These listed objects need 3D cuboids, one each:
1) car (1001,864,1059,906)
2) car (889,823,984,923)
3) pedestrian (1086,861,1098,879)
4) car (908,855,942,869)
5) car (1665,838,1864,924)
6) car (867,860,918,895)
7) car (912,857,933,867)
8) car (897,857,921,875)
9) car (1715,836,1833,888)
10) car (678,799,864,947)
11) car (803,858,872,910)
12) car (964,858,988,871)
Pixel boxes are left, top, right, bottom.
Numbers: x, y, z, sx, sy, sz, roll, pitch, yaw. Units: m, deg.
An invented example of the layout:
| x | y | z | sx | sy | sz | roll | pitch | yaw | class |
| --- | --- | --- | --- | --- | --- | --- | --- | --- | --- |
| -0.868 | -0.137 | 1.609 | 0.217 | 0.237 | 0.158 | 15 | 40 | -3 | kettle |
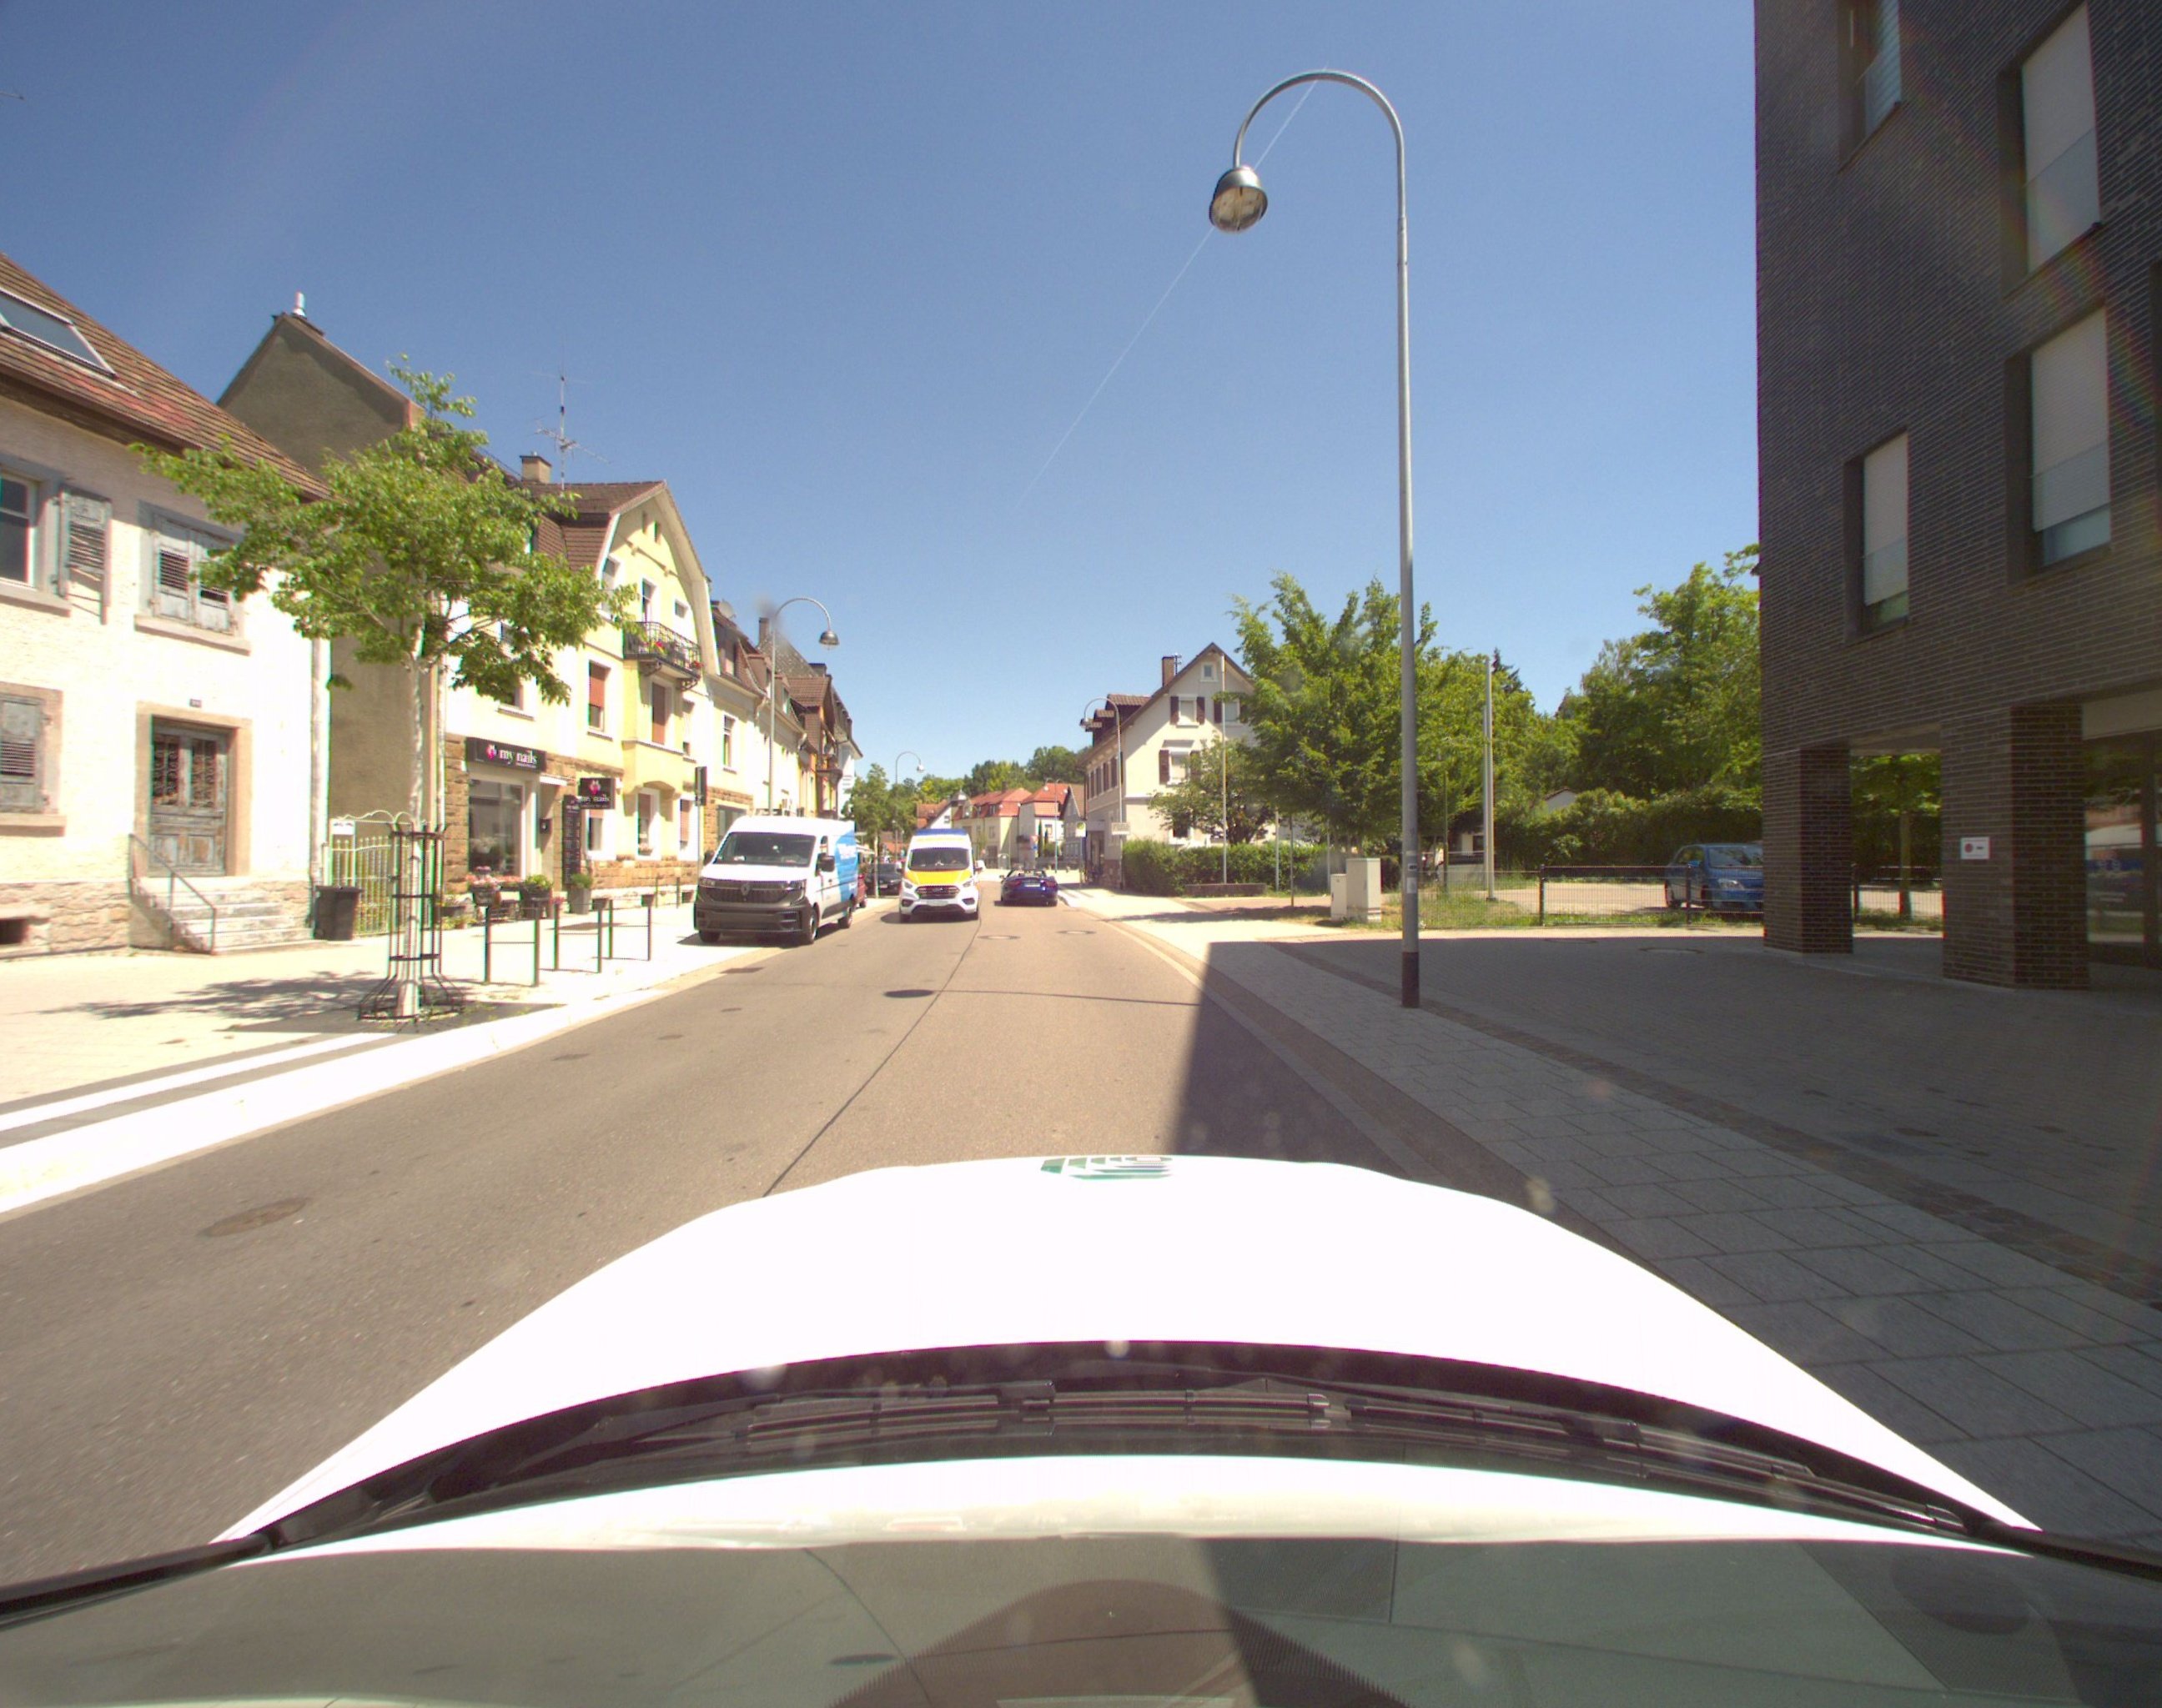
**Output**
| x | y | z | sx | sy | sz | roll | pitch | yaw | class |
| --- | --- | --- | --- | --- | --- | --- | --- | --- | --- |
| -1.926 | 1.074 | 29.684 | 1.908 | 1.360 | 4.276 | 1 | -1 | -6 | car |
| -3.786 | 0.460 | 22.187 | 2.154 | 2.362 | 5.236 | -1 | 0 | -6 | car |
| 0.626 | 0.904 | 47.035 | 0.590 | 0.999 | 0.721 | -1 | 0 | -9 | pedestrian |
| -16.308 | 0.826 | 84.951 | 2.008 | 1.329 | 4.155 | -1 | 0 | -35 | car |
| 13.134 | 0.446 | 15.987 | 1.795 | 1.441 | 4.195 | -1 | 0 | 22 | car |
| -8.776 | 1.061 | 38.219 | 1.914 | 1.481 | 4.325 | 2 | -1 | -8 | car |
| -27.042 | 1.413 | 138.581 | 1.865 | 1.588 | 3.954 | -1 | 0 | -38 | car |
| -14.687 | 0.982 | 69.609 | 1.916 | 1.427 | 3.965 | -2 | 0 | -11 | car |
| 21.252 | 0.229 | 25.148 | 1.853 | 1.441 | 4.024 | -1 | 0 | 27 | car |
| -6.067 | 0.364 | 16.795 | 2.089 | 2.498 | 5.492 | 2 | -1 | -5 | car |
| -7.582 | 0.930 | 25.663 | 1.559 | 1.521 | 3.505 | 1 | -1 | -8 | car |
| -14.564 | 1.476 | 112.846 | 1.929 | 1.613 | 4.110 | 0 | -1 | -28 | car |
